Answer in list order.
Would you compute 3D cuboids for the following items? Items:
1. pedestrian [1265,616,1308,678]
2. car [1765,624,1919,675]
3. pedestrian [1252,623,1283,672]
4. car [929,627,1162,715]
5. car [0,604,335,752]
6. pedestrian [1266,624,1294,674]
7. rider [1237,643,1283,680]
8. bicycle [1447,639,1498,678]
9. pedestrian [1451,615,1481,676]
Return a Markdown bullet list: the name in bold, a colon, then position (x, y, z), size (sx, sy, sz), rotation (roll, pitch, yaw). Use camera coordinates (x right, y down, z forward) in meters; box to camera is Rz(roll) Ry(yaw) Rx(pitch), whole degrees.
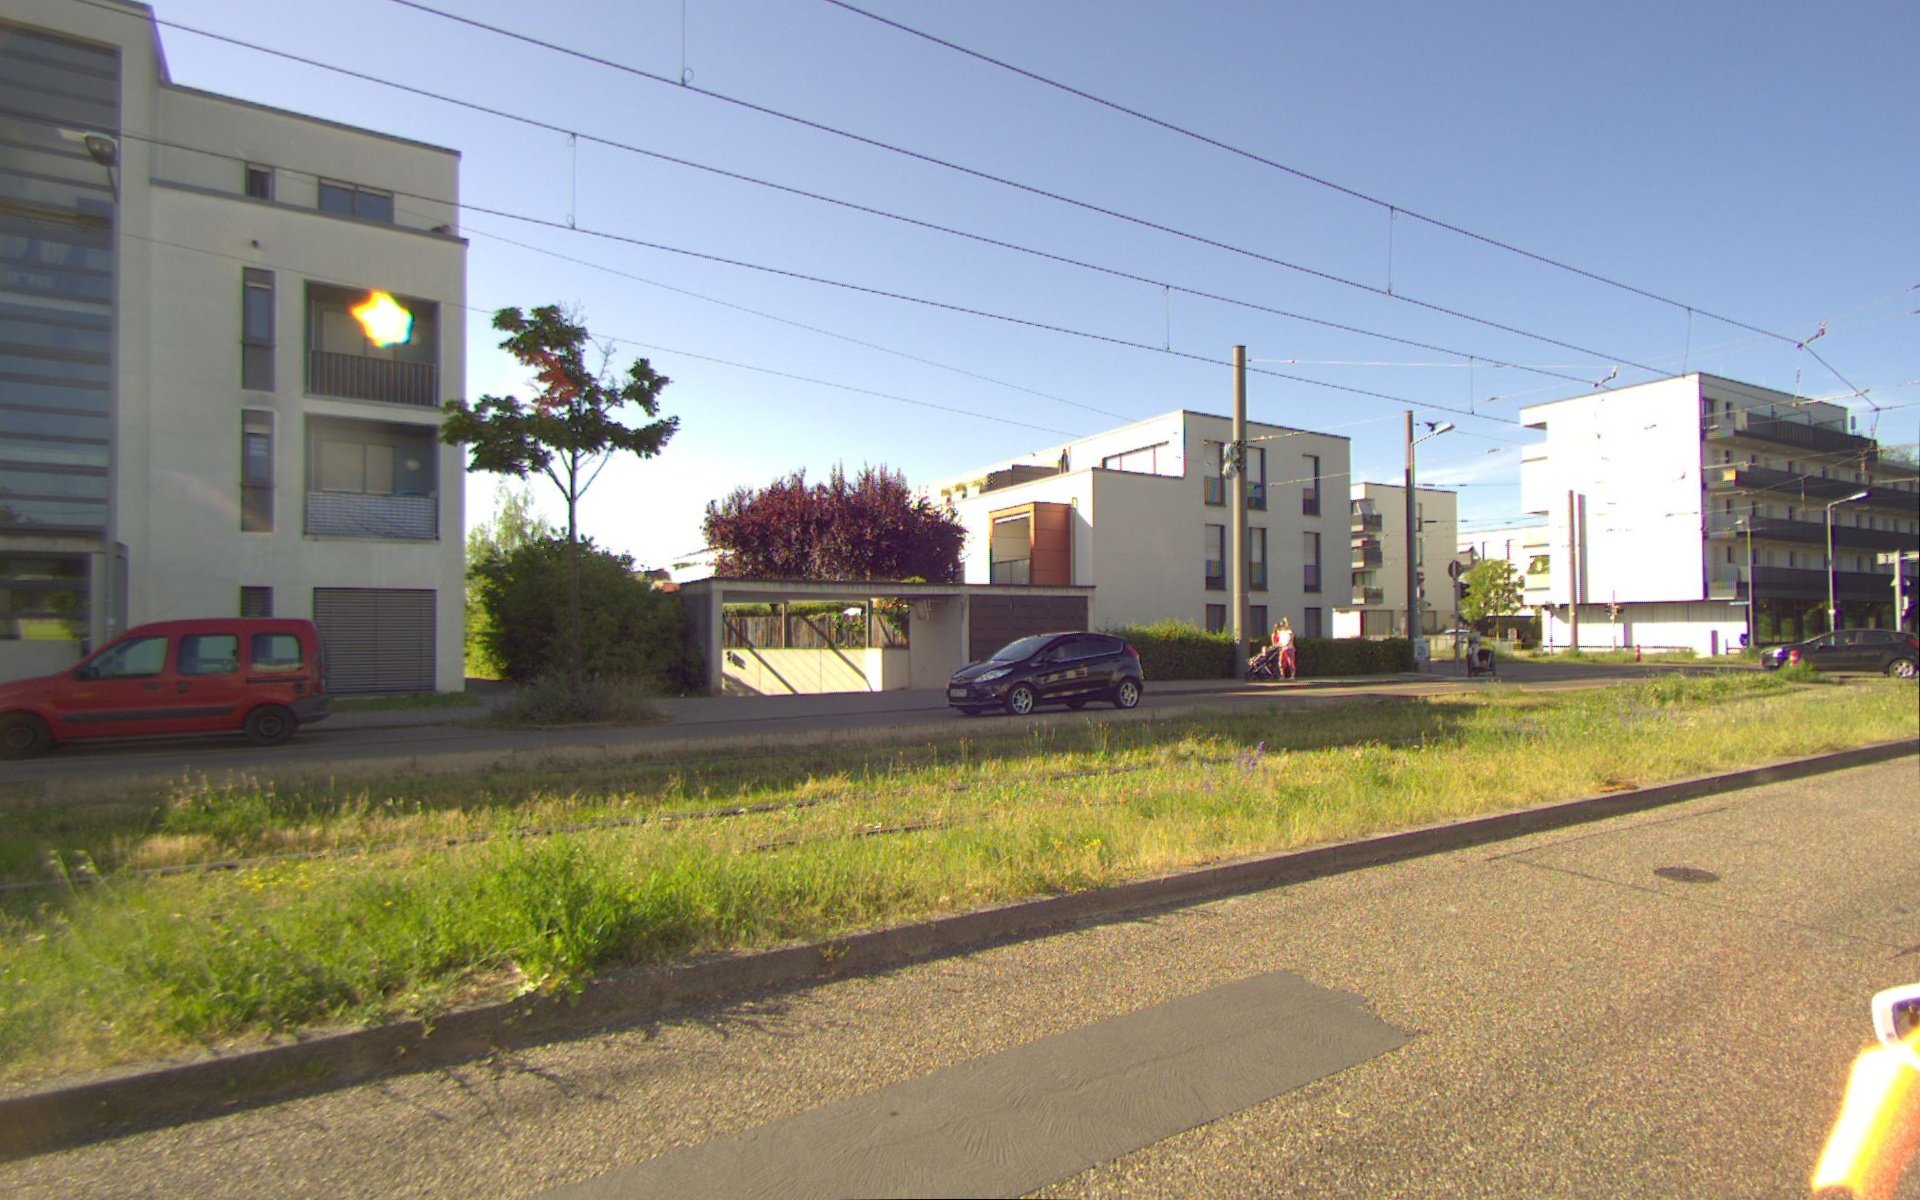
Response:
- **pedestrian**: position (9.508, 1.362, 29.277), size (0.897, 1.771, 0.813), rotation (0, 0, -26)
- **car**: position (27.254, 1.539, 30.920), size (3.679, 1.449, 1.704), rotation (-4, -4, 35)
- **pedestrian**: position (9.472, 1.453, 30.930), size (0.733, 1.483, 0.554), rotation (0, 0, -30)
- **car**: position (1.588, 1.245, 18.338), size (3.954, 1.437, 1.779), rotation (1, -4, -31)
- **car**: position (-10.955, 0.984, 13.974), size (3.794, 1.819, 1.871), rotation (1, -1, -32)
- **pedestrian**: position (9.672, 1.464, 30.395), size (0.604, 1.483, 0.554), rotation (0, 0, -29)
- **rider**: position (8.610, 1.753, 28.847), size (1.031, 1.016, 0.775), rotation (0, 0, -27)
- **bicycle**: position (17.679, 2.003, 34.642), size (2.685, 1.238, 0.786), rotation (1, -1, -45)
- **pedestrian**: position (17.228, 1.526, 34.192), size (0.665, 2.040, 0.753), rotation (0, 0, -45)
